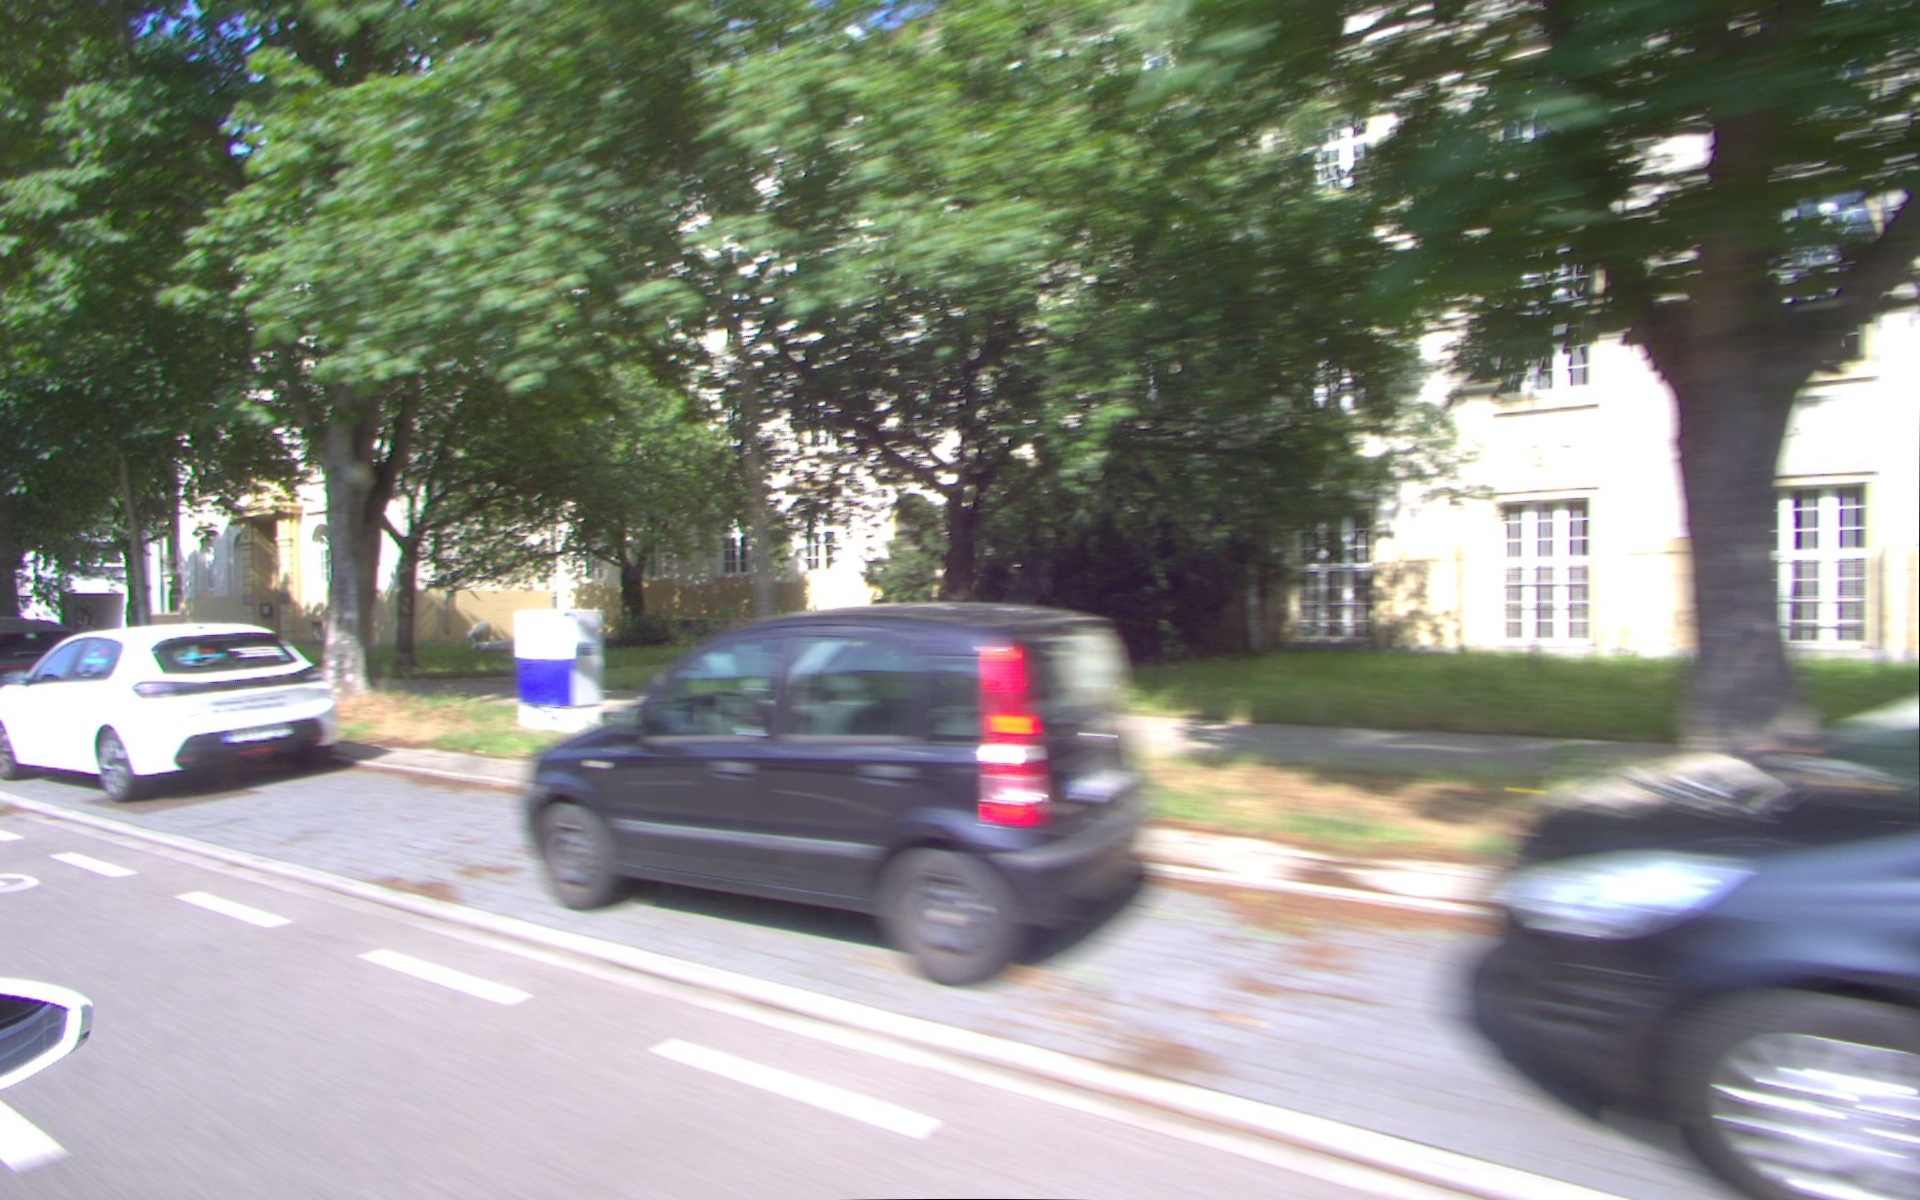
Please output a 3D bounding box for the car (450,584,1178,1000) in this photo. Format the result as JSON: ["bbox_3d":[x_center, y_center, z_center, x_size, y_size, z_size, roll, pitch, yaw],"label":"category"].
[{"bbox_3d":[-0.821,0.756,5.252,3.505,1.481,1.552,-2,3,30],"label":"car"}]

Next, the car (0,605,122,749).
[{"bbox_3d":[-12.738,0.913,12.851,4.611,1.605,1.720,-1,1,33],"label":"car"}]

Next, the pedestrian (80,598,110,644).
[{"bbox_3d":[-30.693,0.744,35.547,0.532,1.617,0.630,-1,1,29],"label":"pedestrian"}]

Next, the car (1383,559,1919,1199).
[{"bbox_3d":[3.424,0.685,2.380,4.246,1.583,1.686,-1,3,32],"label":"car"}]

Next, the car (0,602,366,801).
[{"bbox_3d":[-8.048,0.859,9.940,4.189,1.544,1.832,-1,2,30],"label":"car"}]
